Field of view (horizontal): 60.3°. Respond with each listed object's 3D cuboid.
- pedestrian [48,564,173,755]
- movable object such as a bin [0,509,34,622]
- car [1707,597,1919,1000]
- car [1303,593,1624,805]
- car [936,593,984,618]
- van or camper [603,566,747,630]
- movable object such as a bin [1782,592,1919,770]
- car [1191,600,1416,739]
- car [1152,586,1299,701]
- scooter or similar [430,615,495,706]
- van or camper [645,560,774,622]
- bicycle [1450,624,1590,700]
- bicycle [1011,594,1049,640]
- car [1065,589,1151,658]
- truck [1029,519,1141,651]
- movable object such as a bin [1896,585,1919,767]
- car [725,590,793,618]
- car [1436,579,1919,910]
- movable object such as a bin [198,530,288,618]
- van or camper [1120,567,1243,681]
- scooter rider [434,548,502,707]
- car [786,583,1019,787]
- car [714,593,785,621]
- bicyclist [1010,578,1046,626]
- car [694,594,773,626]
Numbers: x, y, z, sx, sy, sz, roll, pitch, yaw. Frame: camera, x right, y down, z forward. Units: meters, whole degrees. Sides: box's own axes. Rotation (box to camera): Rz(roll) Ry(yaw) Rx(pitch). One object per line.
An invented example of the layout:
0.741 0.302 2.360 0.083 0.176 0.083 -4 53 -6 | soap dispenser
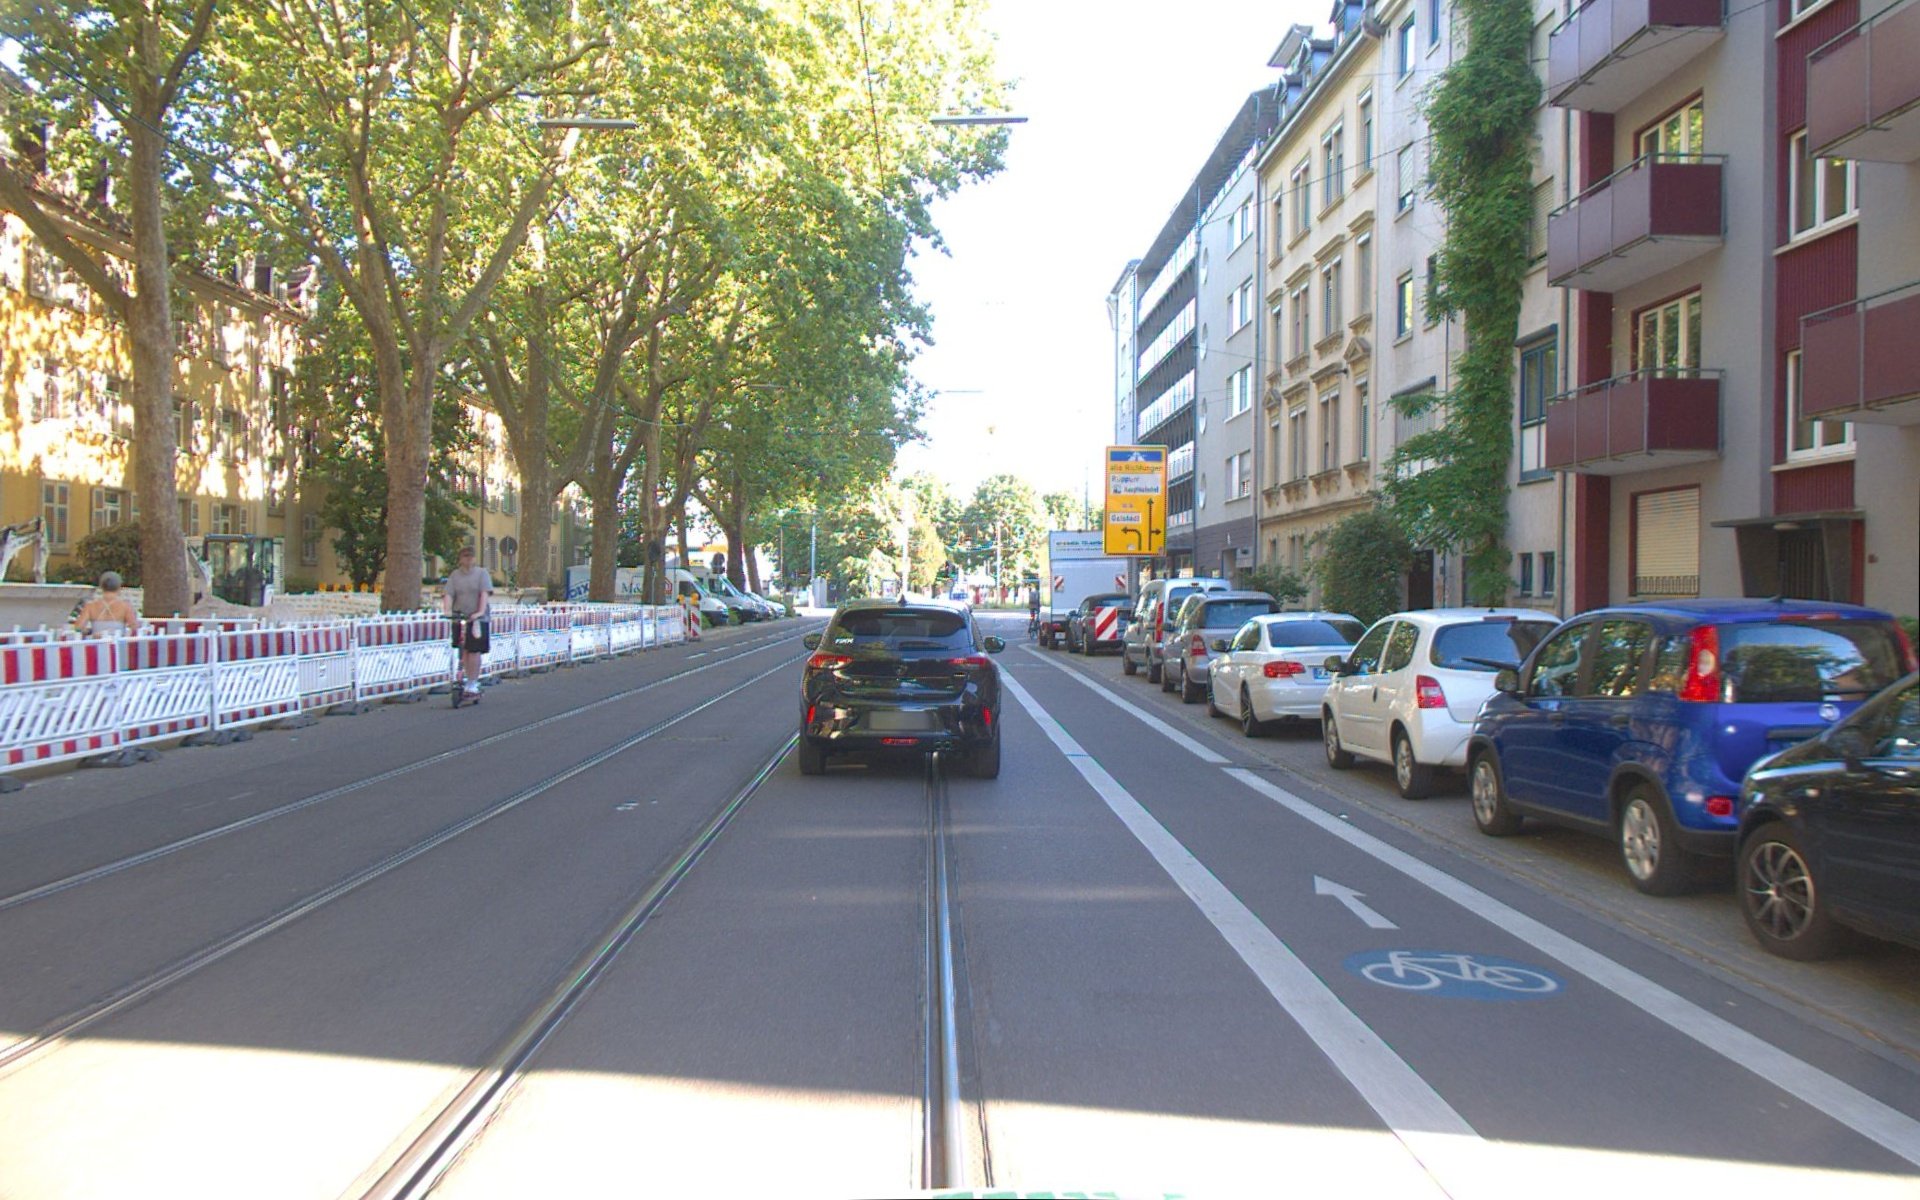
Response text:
-7.825 0.533 15.270 0.702 1.698 0.778 2 0 -1 | pedestrian
-16.854 -0.599 27.881 1.306 1.901 2.007 2 0 -1 | movable object such as a bin
4.459 0.747 5.932 1.698 1.487 3.915 -1 0 -1 | car
4.182 0.750 14.345 1.559 1.553 3.834 -1 0 -1 | car
-0.012 0.392 117.743 1.964 1.725 4.713 -1 0 -19 | car
-11.671 -0.060 68.032 5.387 2.421 2.270 2 0 2 | van or camper
7.577 0.631 13.454 0.905 1.350 1.681 2 0 -1 | movable object such as a bin
4.028 0.748 20.162 1.626 1.424 4.738 -1 0 -1 | car
3.963 0.603 25.178 1.626 1.608 3.588 0 0 -1 | car
-6.379 0.759 21.242 0.399 1.102 1.338 2 0 -1 | scooter or similar
-11.672 -0.397 77.283 5.607 2.690 2.269 2 0 -1 | van or camper
8.162 0.898 24.135 1.854 1.047 0.476 -1 0 4 | bicycle
2.529 0.593 59.236 0.896 1.588 3.408 1 0 10 | bicycle
3.664 0.555 41.471 1.695 1.584 4.151 -2 0 -1 | car
3.451 -0.400 47.244 2.486 3.396 7.194 -2 0 -1 | truck
7.587 0.575 11.676 0.947 1.350 1.721 2 0 -1 | movable object such as a bin
-12.464 0.238 102.683 4.086 1.700 1.963 0 0 -4 | car
4.291 0.730 10.118 1.495 1.617 3.750 2 0 -3 | car
-14.216 -0.502 32.830 1.075 1.674 1.559 2 0 -1 | movable object such as a bin
3.944 0.391 30.018 1.635 1.916 4.210 0 0 -1 | van or camper
-6.317 0.348 21.261 0.636 1.991 0.624 2 0 -1 | scooter rider
-0.485 0.638 14.643 1.745 1.522 3.999 1 0 -1 | car
-12.285 0.404 96.779 3.905 1.541 1.649 2 0 0 | car
2.428 0.072 59.087 1.066 1.676 1.402 1 0 10 | bicyclist
-11.927 0.517 87.381 3.905 1.541 1.649 2 0 0 | car
